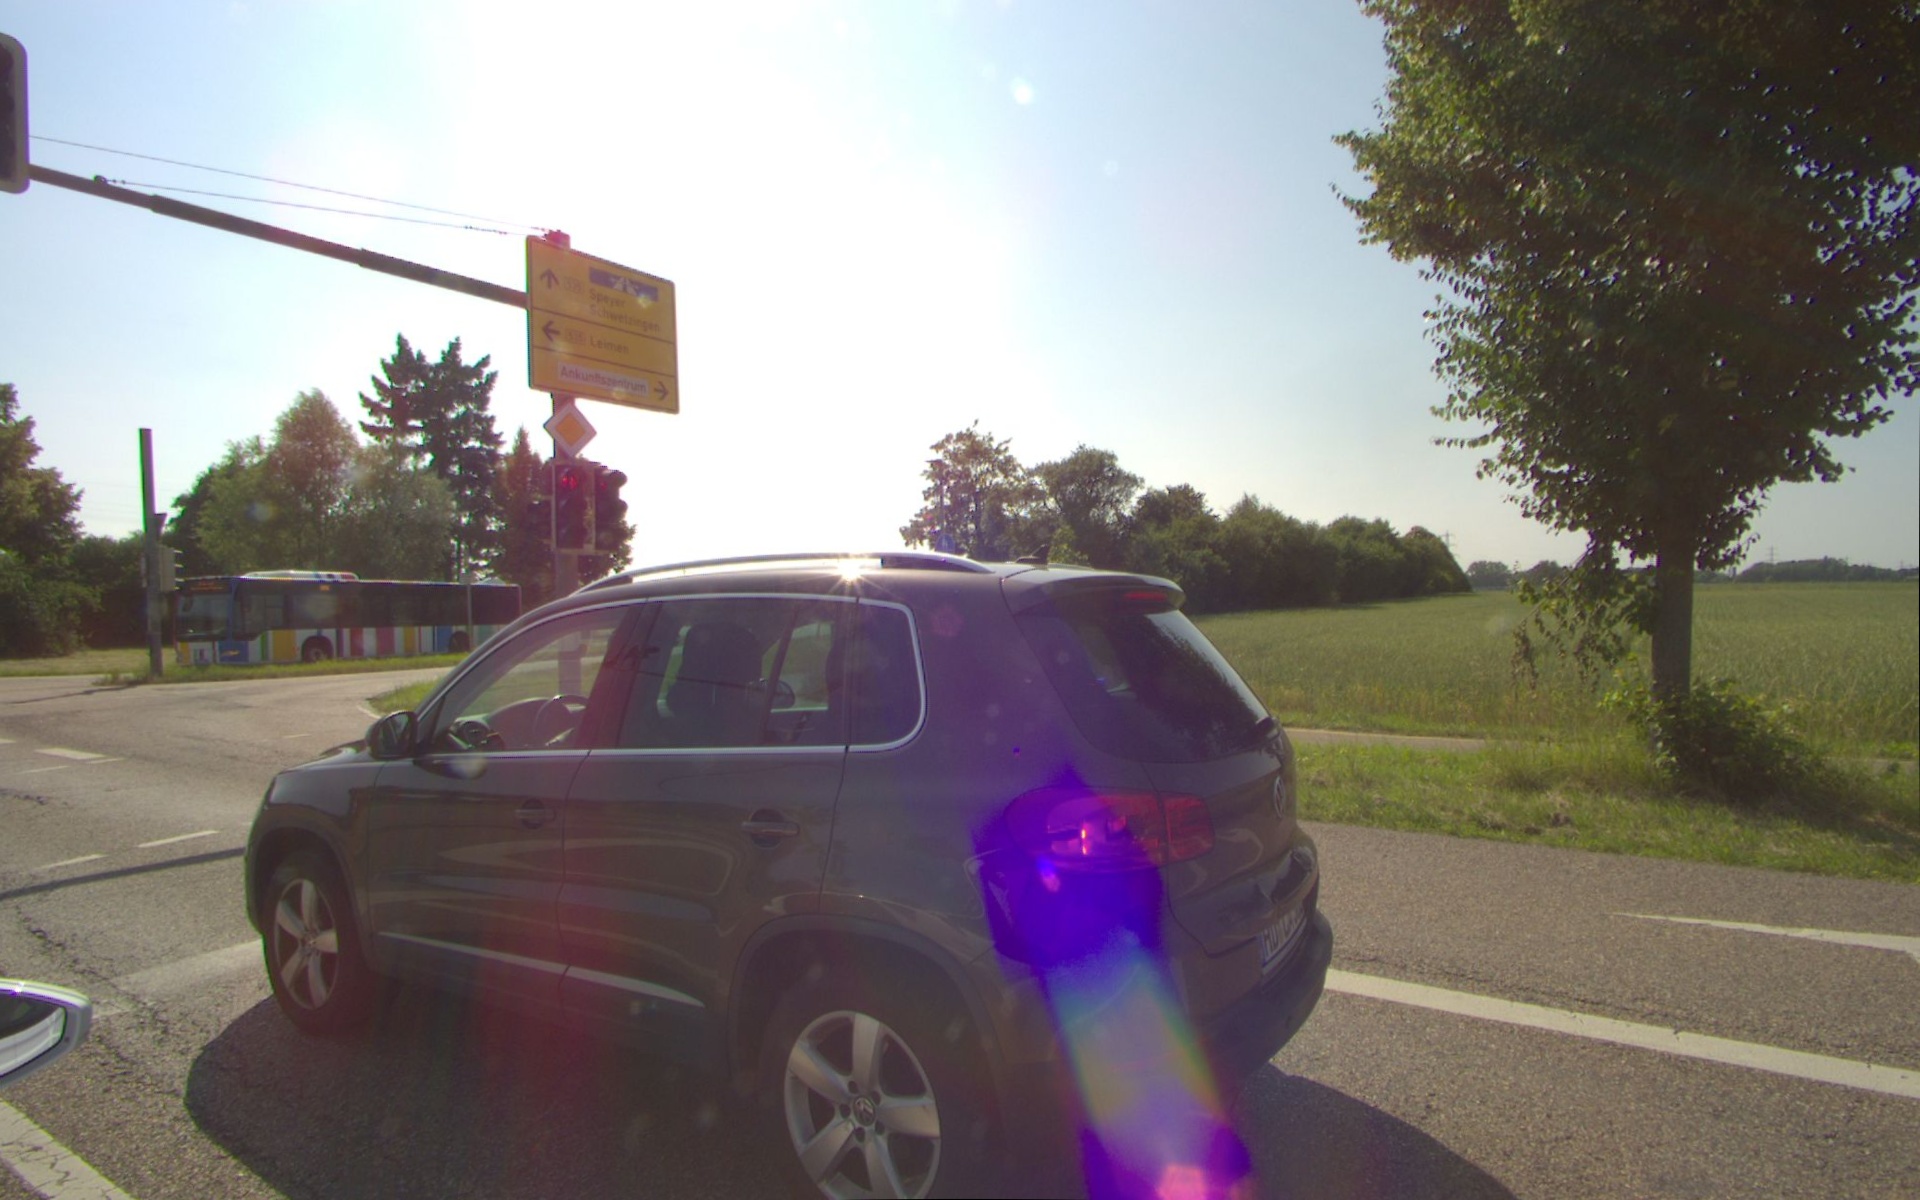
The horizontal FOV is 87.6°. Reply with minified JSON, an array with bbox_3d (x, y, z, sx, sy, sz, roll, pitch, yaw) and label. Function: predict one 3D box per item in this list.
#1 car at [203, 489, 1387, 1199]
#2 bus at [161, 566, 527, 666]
[{"bbox_3d":[-0.788,0.695,3.615,4.086,1.677,1.753,-1,-2,32],"label":"car"},{"bbox_3d":[-20.655,0.420,35.166,2.889,2.916,11.955,-1,0,17],"label":"bus"}]
